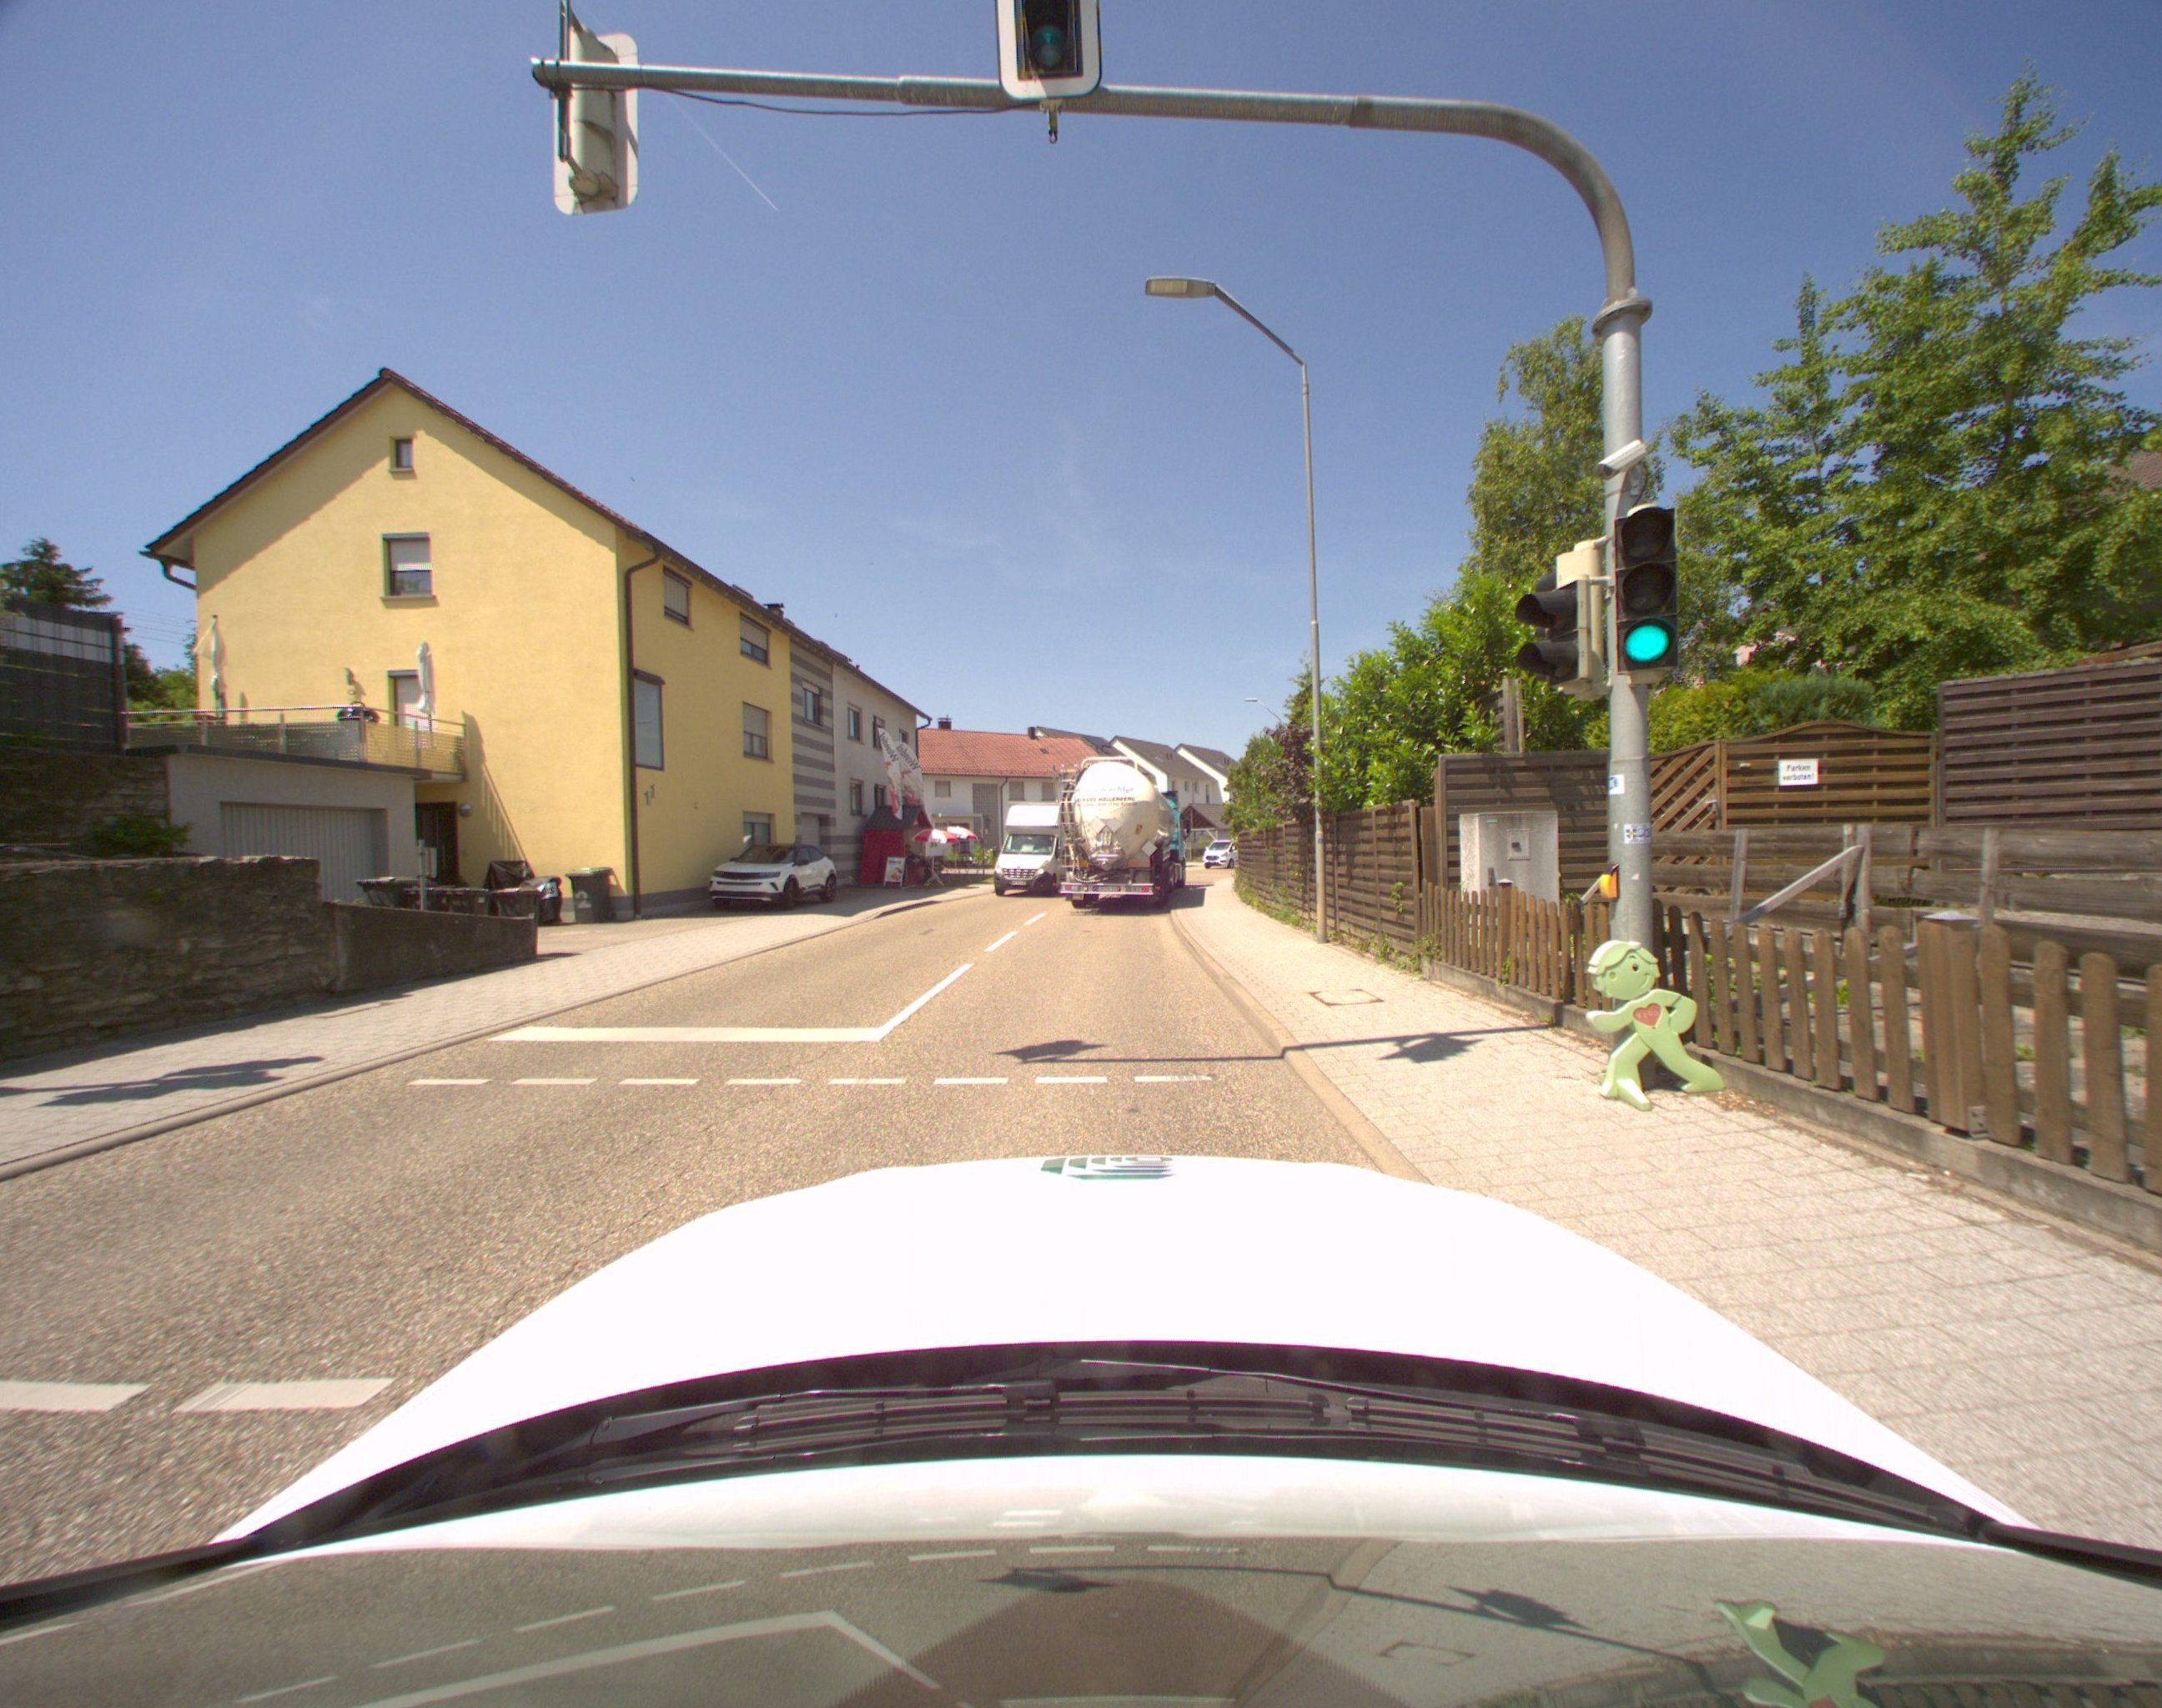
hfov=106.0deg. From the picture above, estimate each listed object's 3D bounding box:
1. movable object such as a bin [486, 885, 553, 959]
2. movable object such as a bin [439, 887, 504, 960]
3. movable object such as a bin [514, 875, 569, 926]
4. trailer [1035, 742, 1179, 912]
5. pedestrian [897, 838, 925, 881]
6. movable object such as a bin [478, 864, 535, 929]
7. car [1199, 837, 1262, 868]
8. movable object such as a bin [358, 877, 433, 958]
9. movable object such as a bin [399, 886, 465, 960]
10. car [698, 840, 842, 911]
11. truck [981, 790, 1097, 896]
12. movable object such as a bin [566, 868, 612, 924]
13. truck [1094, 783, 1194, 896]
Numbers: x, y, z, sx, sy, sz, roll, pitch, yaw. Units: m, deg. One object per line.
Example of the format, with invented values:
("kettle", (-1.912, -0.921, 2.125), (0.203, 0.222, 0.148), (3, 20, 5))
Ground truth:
("movable object such as a bin", (-7.553, 0.900, 10.965), (0.499, 0.948, 0.554), (-1, 0, 1))
("movable object such as a bin", (-8.253, 0.929, 11.037), (0.445, 0.928, 0.562), (0, 0, 1))
("movable object such as a bin", (-10.163, 0.869, 15.348), (0.595, 0.910, 0.608), (-1, 0, 1))
("trailer", (1.299, -0.716, 25.216), (2.935, 3.947, 11.648), (-2, 1, 9))
("pedestrian", (-6.494, 0.205, 31.167), (0.605, 1.587, 0.814), (-1, 0, 35))
("movable object such as a bin", (-10.839, 0.789, 15.376), (0.550, 1.196, 0.695), (-1, 0, 1))
("car", (10.556, -0.163, 57.268), (1.975, 1.999, 5.247), (2, 3, 41))
("movable object such as a bin", (-9.310, 0.850, 11.076), (0.469, 1.055, 0.634), (0, 0, 1))
("movable object such as a bin", (-8.765, 0.922, 11.017), (0.445, 0.938, 0.531), (-1, 0, 1))
("car", (-7.463, 0.455, 20.032), (1.723, 1.552, 4.192), (-1, 0, 3))
("truck", (-1.306, -0.407, 30.068), (2.451, 3.367, 7.640), (2, 1, 11))
("movable object such as a bin", (-9.431, 0.797, 15.621), (0.499, 1.043, 0.608), (-1, 0, 1))
("truck", (2.703, -0.582, 33.055), (2.967, 3.964, 5.598), (-5, 0, 12))
